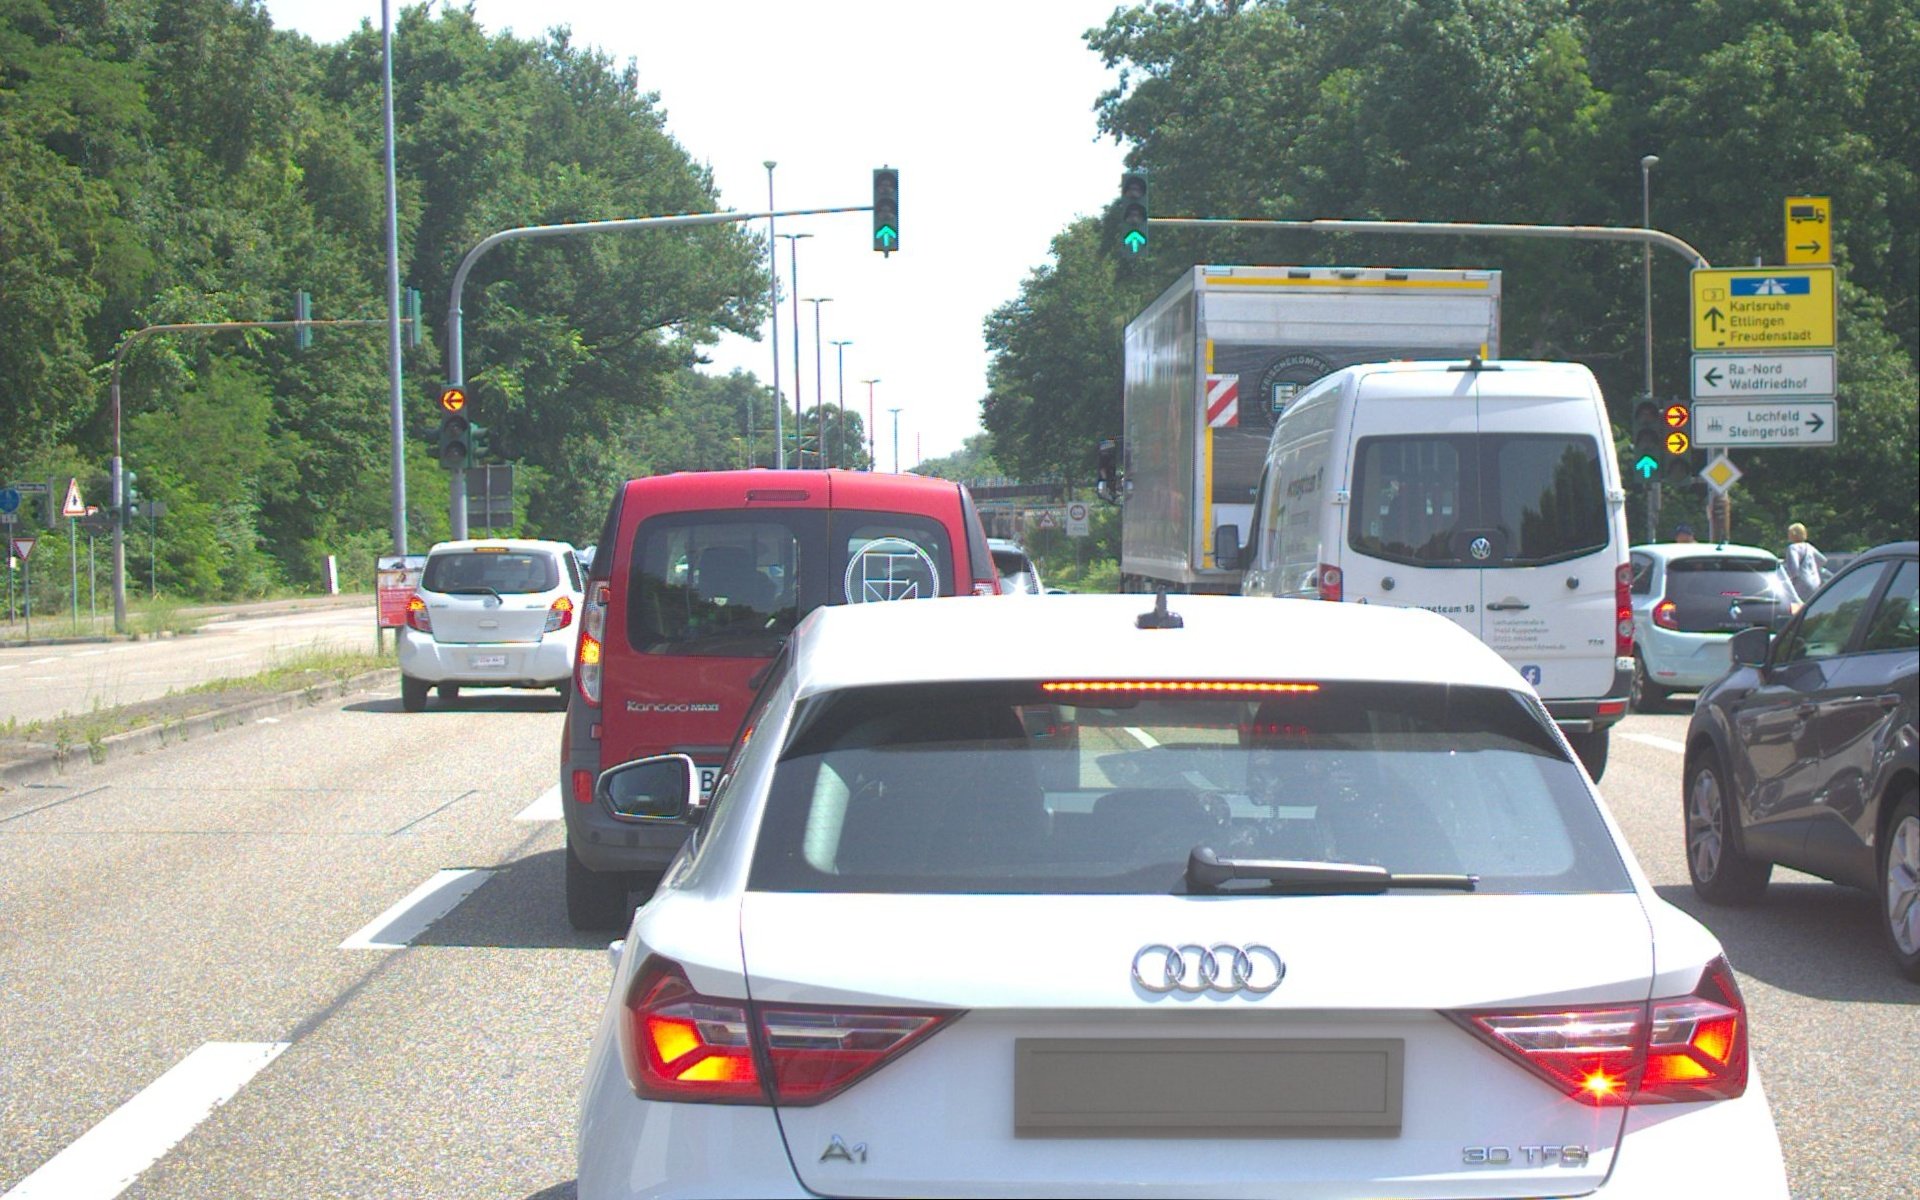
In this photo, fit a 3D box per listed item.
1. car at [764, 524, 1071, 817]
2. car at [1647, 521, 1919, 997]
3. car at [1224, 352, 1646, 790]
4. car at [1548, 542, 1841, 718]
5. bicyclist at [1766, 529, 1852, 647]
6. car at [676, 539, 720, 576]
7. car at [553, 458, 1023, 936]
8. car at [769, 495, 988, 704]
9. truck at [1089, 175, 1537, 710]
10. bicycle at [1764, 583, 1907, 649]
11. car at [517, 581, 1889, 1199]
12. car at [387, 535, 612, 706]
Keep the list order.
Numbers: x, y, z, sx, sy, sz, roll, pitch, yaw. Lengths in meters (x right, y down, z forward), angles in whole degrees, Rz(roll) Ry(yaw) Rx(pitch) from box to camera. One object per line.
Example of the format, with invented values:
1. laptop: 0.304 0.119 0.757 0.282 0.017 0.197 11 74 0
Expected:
1. car: -0.320 0.354 21.161 1.711 1.626 4.092 0 1 -2
2. car: 3.980 0.498 13.186 1.711 1.587 4.092 0 1 -2
3. car: 3.048 -0.217 23.130 2.031 2.635 4.846 0 1 -2
4. car: 6.800 0.230 32.234 1.711 1.541 4.092 0 1 -2
5. bicyclist: 10.521 -0.151 42.611 0.826 1.434 0.599 -2 1 -31
6. car: -13.058 -2.116 171.449 1.993 1.766 4.205 -1 1 -2
7. car: -0.711 0.317 14.594 1.711 1.742 4.092 0 1 -2
8. car: -0.721 -0.043 28.850 1.711 1.626 4.092 0 1 -2
9. truck: 3.149 -1.414 34.373 3.088 4.418 11.581 0 1 -1
10. bicycle: 10.908 0.190 42.799 1.821 0.763 0.601 -2 1 -31
11. car: 0.223 0.682 6.325 1.711 1.381 4.092 0 1 -2
12. car: -4.233 0.143 32.088 1.711 1.487 4.092 0 1 -2
